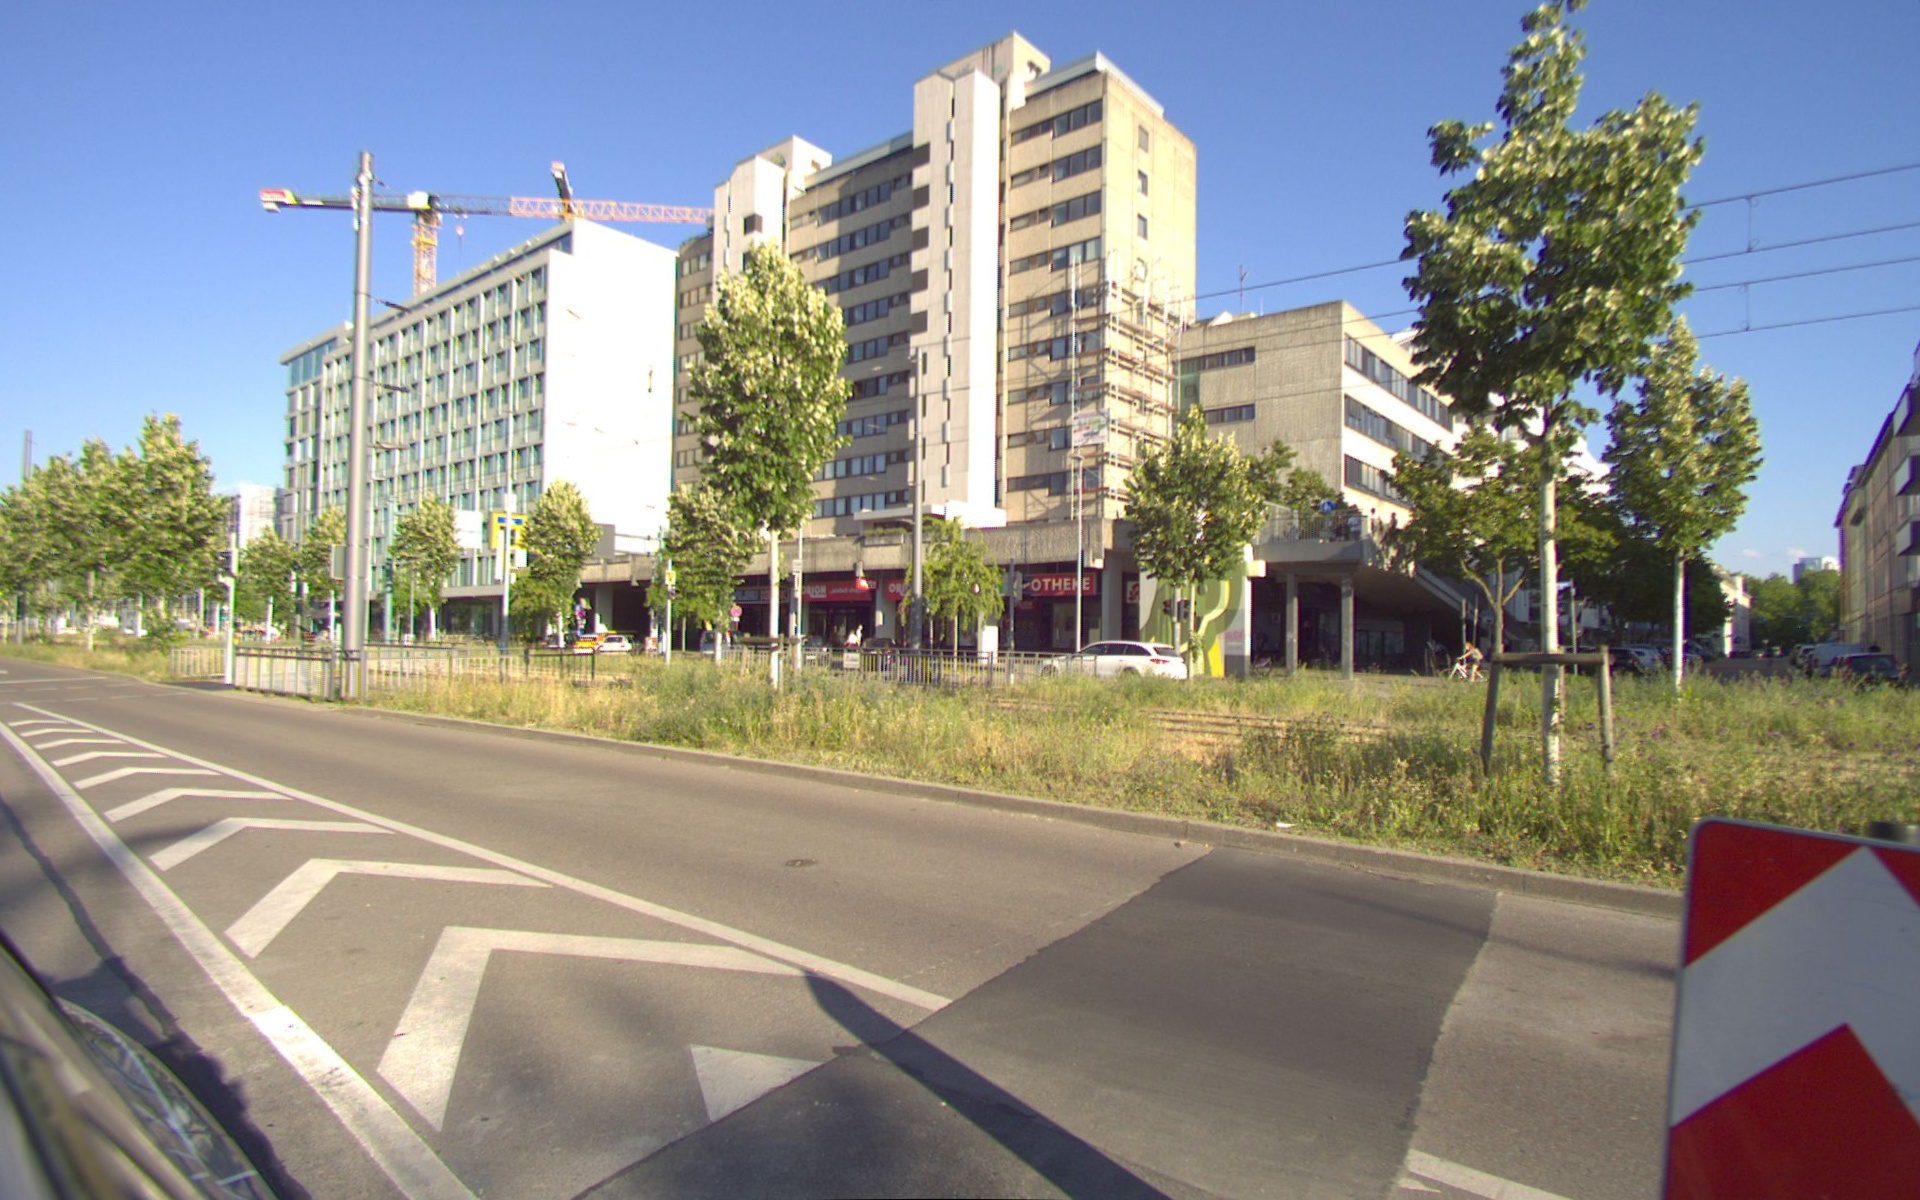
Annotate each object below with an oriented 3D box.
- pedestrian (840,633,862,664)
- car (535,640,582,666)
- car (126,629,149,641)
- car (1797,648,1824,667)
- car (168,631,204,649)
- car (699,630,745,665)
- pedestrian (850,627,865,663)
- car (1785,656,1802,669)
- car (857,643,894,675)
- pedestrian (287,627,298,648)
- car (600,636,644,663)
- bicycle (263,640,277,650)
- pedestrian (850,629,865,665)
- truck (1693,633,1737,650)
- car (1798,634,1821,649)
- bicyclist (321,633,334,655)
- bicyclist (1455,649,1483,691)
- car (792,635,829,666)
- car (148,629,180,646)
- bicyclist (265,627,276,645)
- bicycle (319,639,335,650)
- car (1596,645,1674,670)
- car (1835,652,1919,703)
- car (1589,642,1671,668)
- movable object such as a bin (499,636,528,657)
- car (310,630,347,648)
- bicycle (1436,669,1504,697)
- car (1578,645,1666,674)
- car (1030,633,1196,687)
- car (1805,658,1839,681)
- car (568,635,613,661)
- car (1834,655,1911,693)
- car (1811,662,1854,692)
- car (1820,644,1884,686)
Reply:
[{"bbox_3d":[-5.899,2.616,54.891,0.881,1.652,0.767,-1,-3,39],"label":"pedestrian"},{"bbox_3d":[-25.462,3.357,64.346,1.596,1.455,4.553,0,0,-6],"label":"car"},{"bbox_3d":[-104.472,4.463,128.532,3.876,1.388,1.593,-1,-1,40],"label":"car"},{"bbox_3d":[77.577,5.197,92.305,1.820,1.618,3.835,-1,-3,39],"label":"car"},{"bbox_3d":[-76.697,3.924,100.271,4.635,1.600,1.851,-1,-1,40],"label":"car"},{"bbox_3d":[-12.719,2.526,54.266,1.598,1.703,4.197,0,0,-1],"label":"car"},{"bbox_3d":[-5.700,2.504,56.324,0.654,2.029,0.542,-1,-3,39],"label":"pedestrian"},{"bbox_3d":[137.303,10.228,166.754,1.998,2.029,3.947,-1,-2,39],"label":"car"},{"bbox_3d":[-3.805,2.644,45.722,1.597,1.283,3.469,0,0,-4],"label":"car"},{"bbox_3d":[-67.075,3.783,101.699,0.725,2.029,0.614,-2,-3,40],"label":"pedestrian"},{"bbox_3d":[-20.182,2.913,60.556,1.597,1.455,3.796,0,0,-4],"label":"car"},{"bbox_3d":[-62.960,4.140,92.333,2.100,0.869,0.432,-1,-3,38],"label":"bicycle"},{"bbox_3d":[-5.896,2.679,58.154,0.654,2.029,0.542,-1,-3,39],"label":"pedestrian"},{"bbox_3d":[101.424,5.592,136.001,4.610,2.185,1.799,-1,-2,37],"label":"truck"},{"bbox_3d":[92.824,4.499,110.585,1.820,1.618,3.835,-1,-3,39],"label":"car"},{"bbox_3d":[-51.791,3.610,82.901,0.918,1.758,0.552,-1,-3,38],"label":"bicyclist"},{"bbox_3d":[17.633,2.419,35.088,0.710,1.405,0.733,0,-2,15],"label":"bicyclist"},{"bbox_3d":[-7.413,2.490,50.406,1.597,1.413,3.469,0,0,-4],"label":"car"},{"bbox_3d":[-86.281,4.082,109.731,4.485,1.715,1.851,-1,-1,40],"label":"car"},{"bbox_3d":[-63.000,3.271,92.451,0.918,1.669,0.532,-1,-3,38],"label":"bicyclist"},{"bbox_3d":[-51.936,3.678,82.999,2.100,0.869,0.432,-1,-3,38],"label":"bicycle"},{"bbox_3d":[43.942,3.692,65.904,3.998,1.525,1.973,-1,-3,41],"label":"car"},{"bbox_3d":[29.618,2.450,32.711,1.845,1.508,3.948,-1,-3,39],"label":"car"},{"bbox_3d":[41.075,3.368,62.086,3.998,1.525,1.973,-1,-3,41],"label":"car"},{"bbox_3d":[-29.790,3.095,67.470,1.170,1.382,1.372,-1,-3,38],"label":"movable object such as a bin"},{"bbox_3d":[-55.667,3.403,89.217,3.387,1.477,1.851,-1,-1,40],"label":"car"},{"bbox_3d":[17.660,2.856,35.073,2.013,0.898,0.504,0,-2,16],"label":"bicycle"},{"bbox_3d":[37.909,3.377,57.992,3.998,1.525,1.973,-1,-3,41],"label":"car"},{"bbox_3d":[4.491,1.735,30.158,4.657,1.474,1.758,-1,-2,39],"label":"car"},{"bbox_3d":[64.090,5.154,75.295,1.820,1.618,3.835,-1,-3,39],"label":"car"},{"bbox_3d":[-22.760,2.957,62.484,1.762,1.455,3.806,0,0,-6],"label":"car"},{"bbox_3d":[34.989,2.802,38.900,1.998,1.313,3.947,-1,-3,39],"label":"car"},{"bbox_3d":[52.568,4.604,61.022,1.820,1.618,3.835,-1,-3,39],"label":"car"},{"bbox_3d":[40.108,2.897,45.592,1.998,1.757,3.947,-1,-3,39],"label":"car"}]
